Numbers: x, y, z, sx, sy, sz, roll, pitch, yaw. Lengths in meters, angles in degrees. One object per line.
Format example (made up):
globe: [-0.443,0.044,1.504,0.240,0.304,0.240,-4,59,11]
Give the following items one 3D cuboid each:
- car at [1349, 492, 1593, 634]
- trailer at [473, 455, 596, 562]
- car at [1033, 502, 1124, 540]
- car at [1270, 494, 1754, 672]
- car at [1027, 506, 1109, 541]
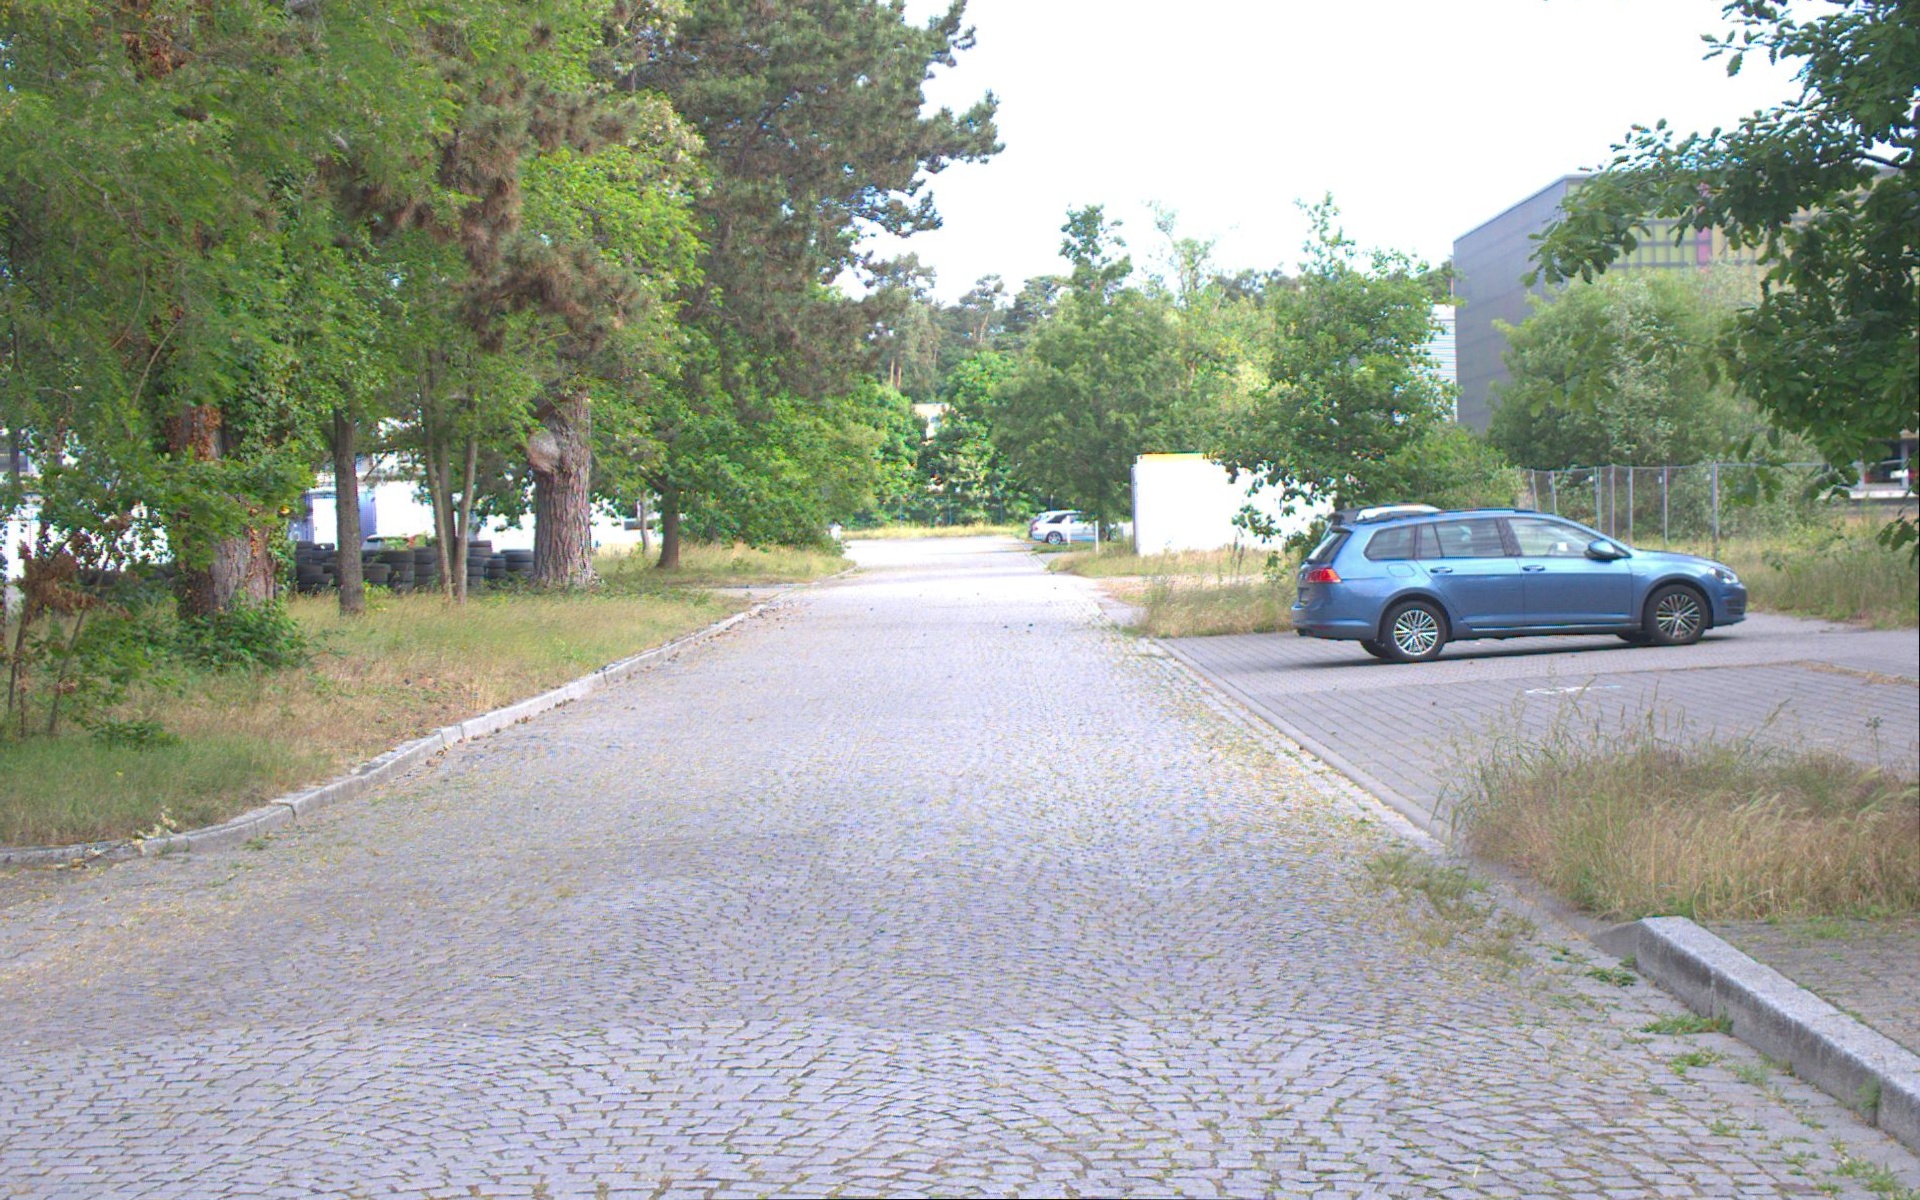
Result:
car: [6.267,-0.468,42.388,2.710,1.551,1.653,-4,1,2]
trailer: [-15.021,-3.234,122.080,2.625,3.585,10.177,-1,1,2]
car: [5.327,-3.562,154.671,3.985,1.443,1.653,-3,1,1]
car: [5.534,-0.197,34.843,4.490,1.470,1.831,-4,2,-2]
car: [4.781,-3.373,151.987,3.522,1.357,1.622,-3,1,1]
